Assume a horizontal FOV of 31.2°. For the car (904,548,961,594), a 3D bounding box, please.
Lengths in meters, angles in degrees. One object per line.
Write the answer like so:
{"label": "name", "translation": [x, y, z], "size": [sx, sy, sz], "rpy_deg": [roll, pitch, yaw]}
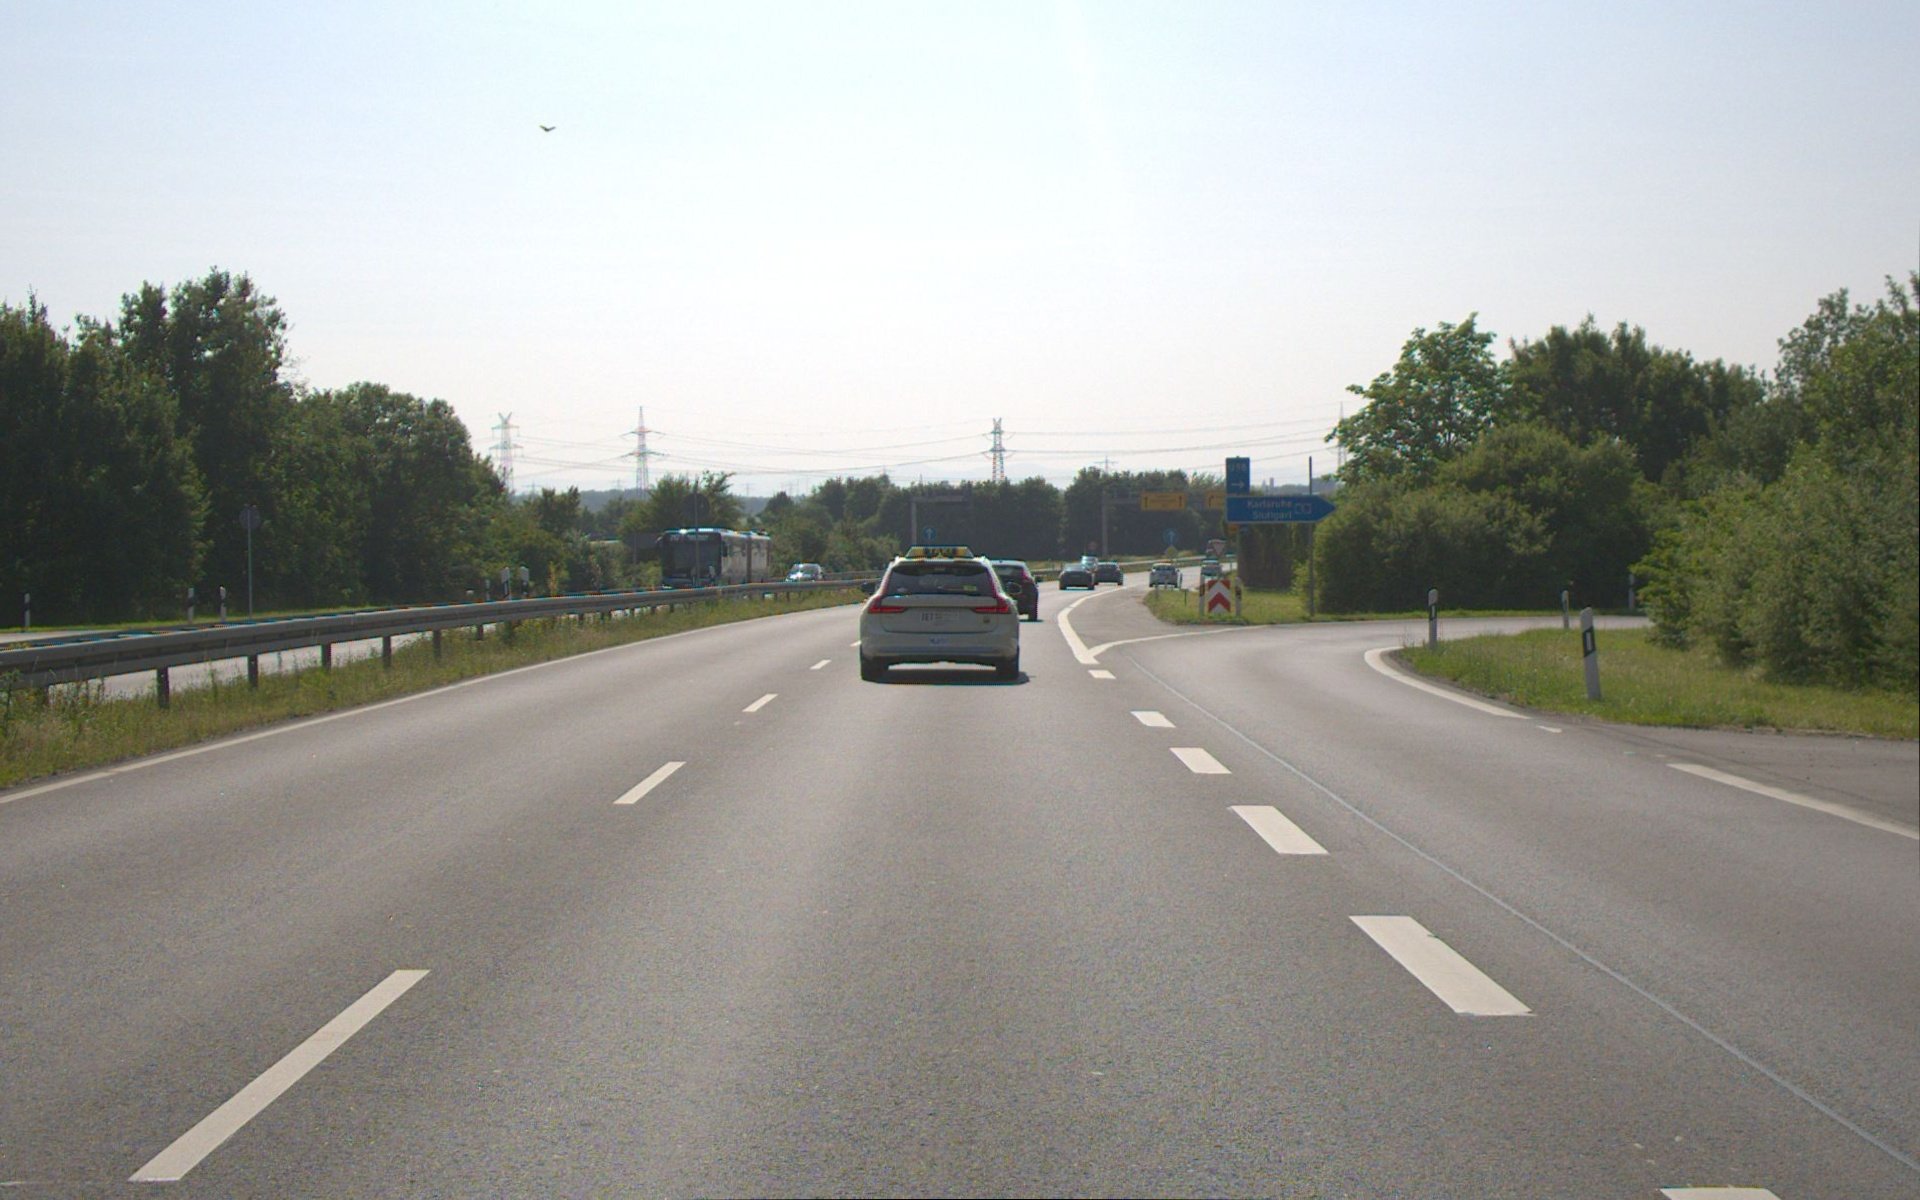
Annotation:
{"label": "car", "translation": [-0.894, -0.977, 115.085], "size": [1.793, 1.498, 4.043], "rpy_deg": [0, 1, 1]}

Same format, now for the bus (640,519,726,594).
{"label": "bus", "translation": [-11.849, -1.902, 147.926], "size": [2.725, 3.099, 9.835], "rpy_deg": [-1, 1, 1]}

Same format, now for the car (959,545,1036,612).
{"label": "car", "translation": [0.878, -0.530, 81.725], "size": [1.793, 1.538, 3.672], "rpy_deg": [0, 1, 0]}

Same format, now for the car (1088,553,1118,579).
{"label": "car", "translation": [9.249, -2.210, 222.332], "size": [1.841, 1.692, 4.000], "rpy_deg": [0, 1, 1]}

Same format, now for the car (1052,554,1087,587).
{"label": "car", "translation": [6.158, -1.656, 193.548], "size": [1.841, 1.796, 4.000], "rpy_deg": [0, 1, 3]}

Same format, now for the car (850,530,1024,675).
{"label": "car", "translation": [-0.246, -0.015, 41.314], "size": [1.958, 1.596, 4.107], "rpy_deg": [1, 2, 1]}
